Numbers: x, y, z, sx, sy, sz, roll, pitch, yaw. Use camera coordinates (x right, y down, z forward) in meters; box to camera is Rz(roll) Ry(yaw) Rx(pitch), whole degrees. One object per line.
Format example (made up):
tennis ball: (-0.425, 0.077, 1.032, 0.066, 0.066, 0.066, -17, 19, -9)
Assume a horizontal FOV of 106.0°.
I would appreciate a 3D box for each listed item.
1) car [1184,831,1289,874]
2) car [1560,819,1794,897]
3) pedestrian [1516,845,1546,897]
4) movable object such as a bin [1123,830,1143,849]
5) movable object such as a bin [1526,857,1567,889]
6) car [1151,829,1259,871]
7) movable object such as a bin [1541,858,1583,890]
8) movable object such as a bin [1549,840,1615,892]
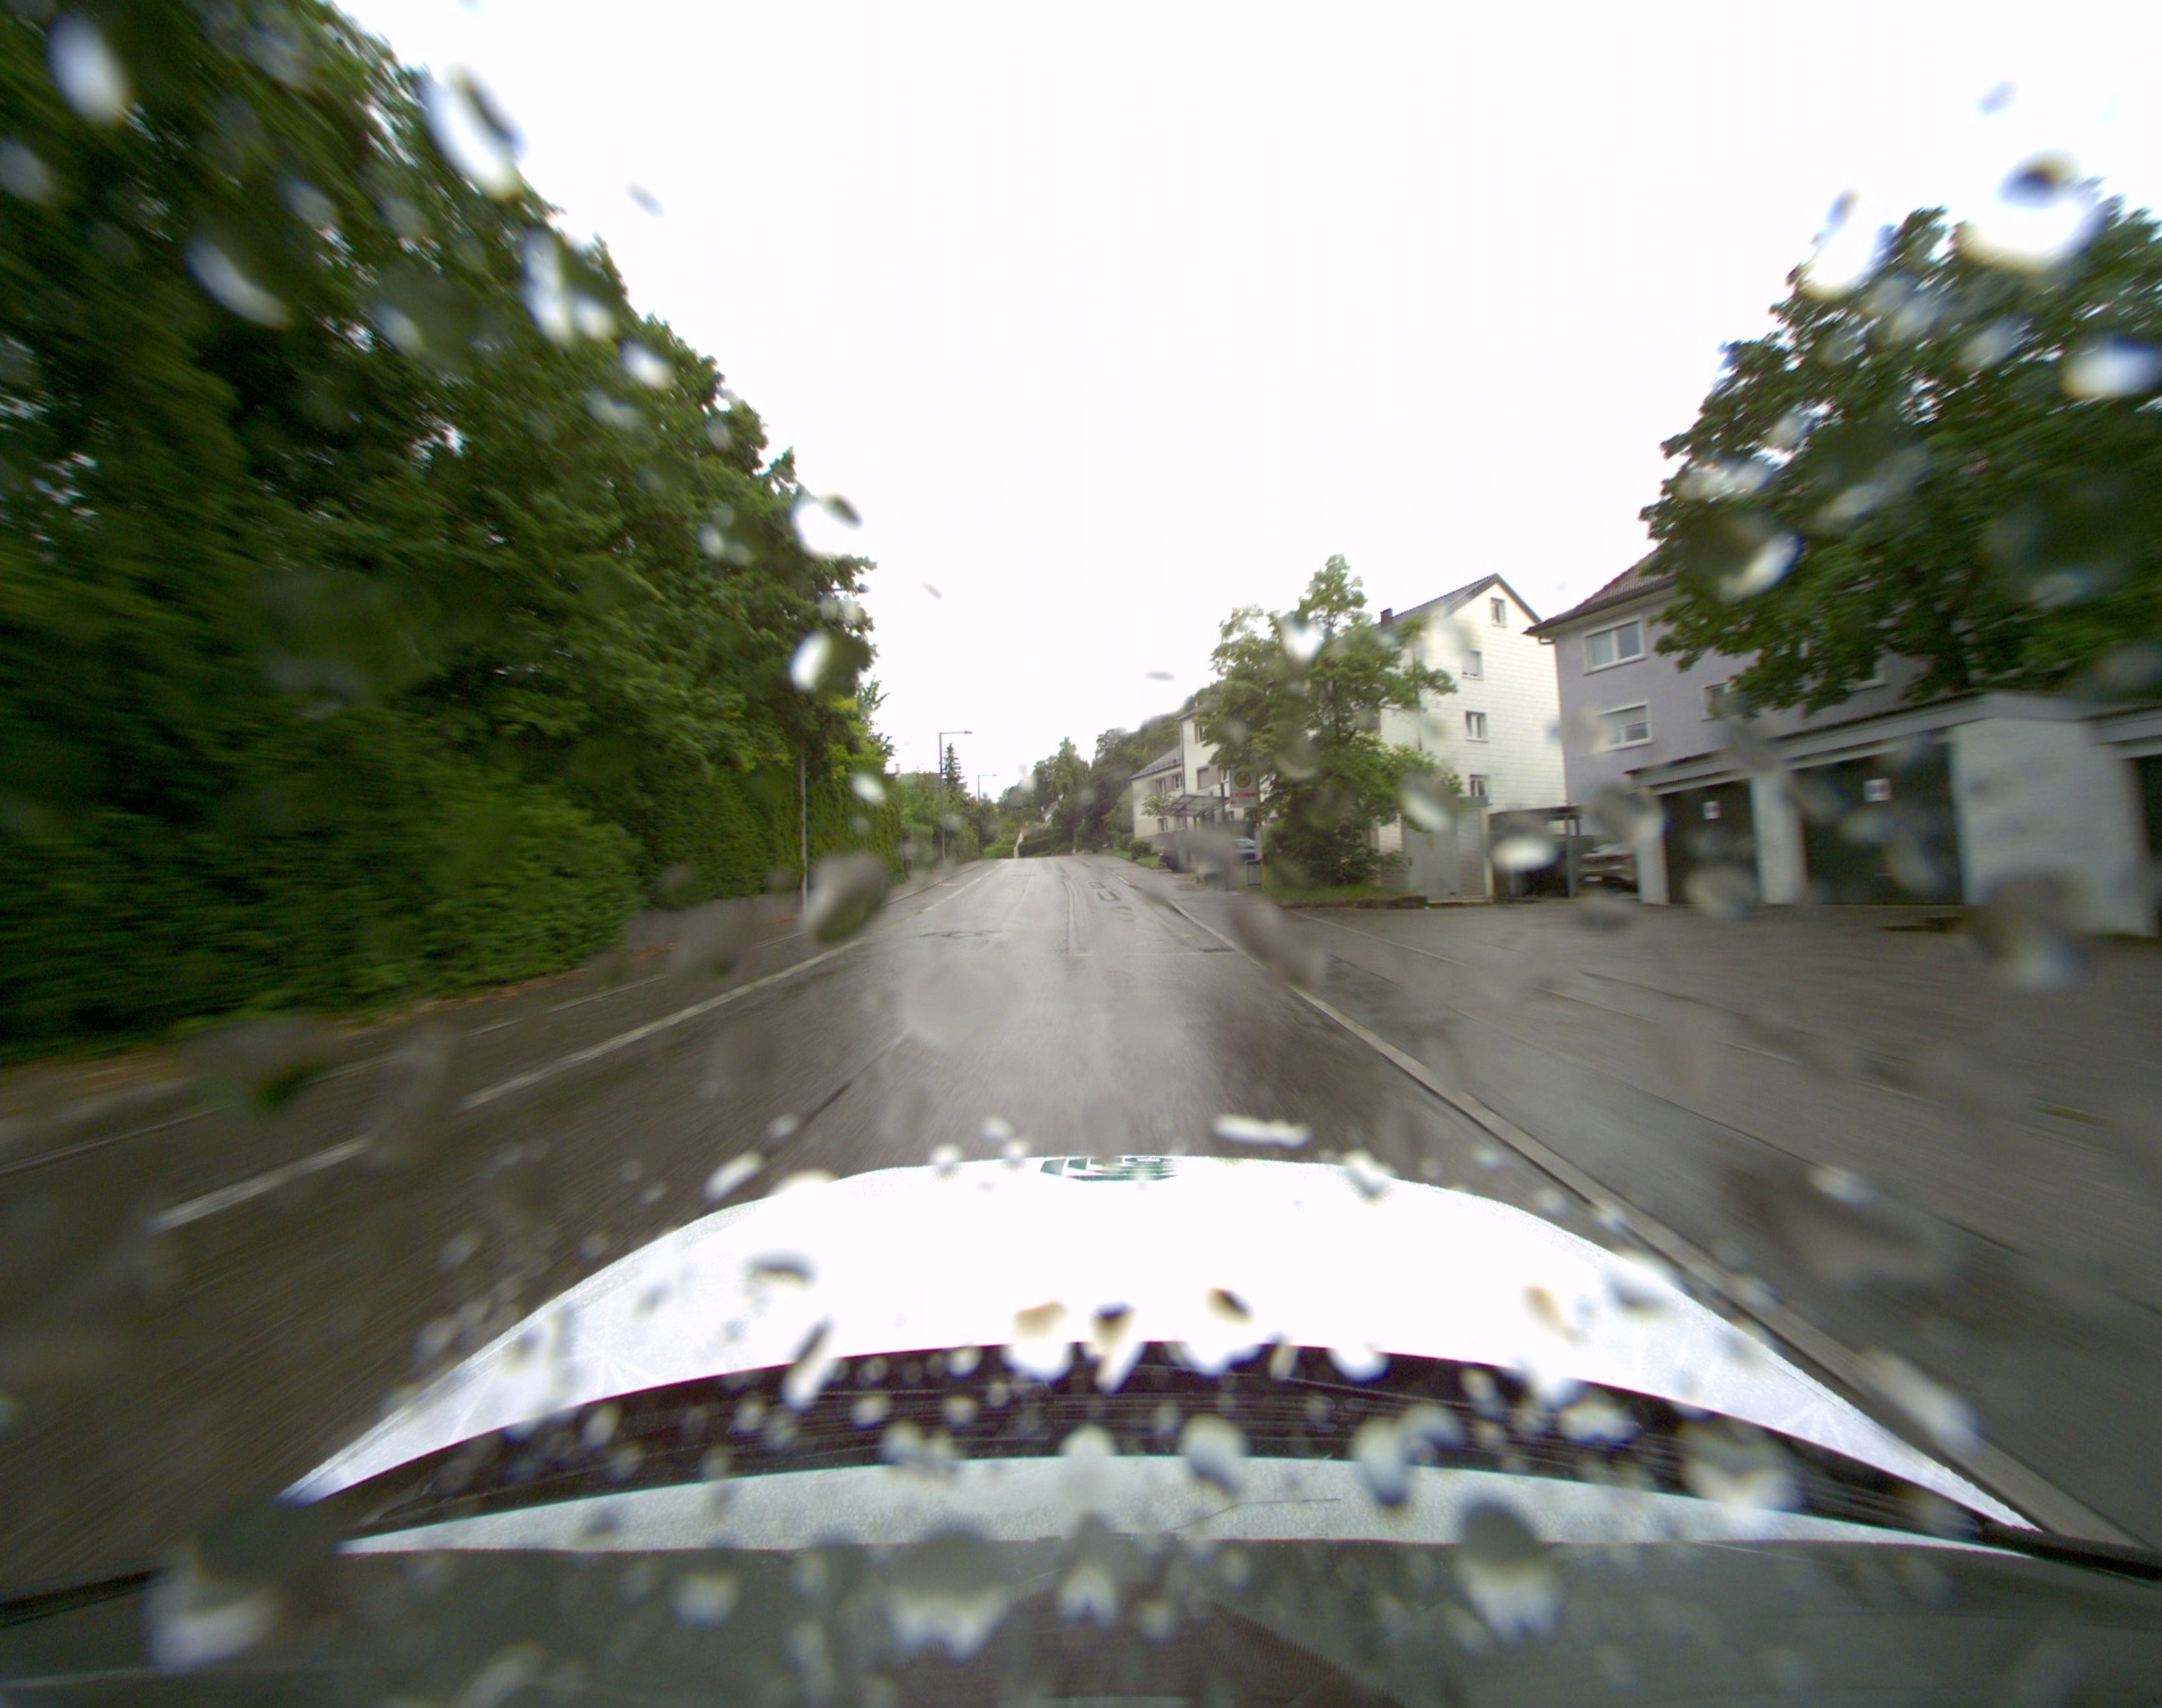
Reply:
car: (6.150, -0.104, 32.373, 3.736, 1.458, 1.722, -3, 2, -4)
car: (12.700, 0.113, 17.519, 3.690, 1.431, 1.795, -2, -2, -2)
pedestrian: (14.454, 0.534, 26.172, 0.579, 1.635, 0.615, -1, 0, -2)
movable object such as a bin: (4.168, -1.161, 65.275, 1.250, 1.497, 0.972, -4, 1, -37)
movable object such as a bin: (13.863, 0.558, 24.258, 0.791, 0.912, 0.791, 0, 0, 1)
car: (5.672, -0.214, 37.516, 4.525, 1.660, 1.850, -3, 2, -9)
movable object such as a bin: (13.861, 0.565, 23.476, 0.791, 0.900, 0.730, 0, 0, 1)
movable object such as a bin: (13.768, 0.327, 22.430, 1.133, 1.394, 1.120, 0, 0, 1)
